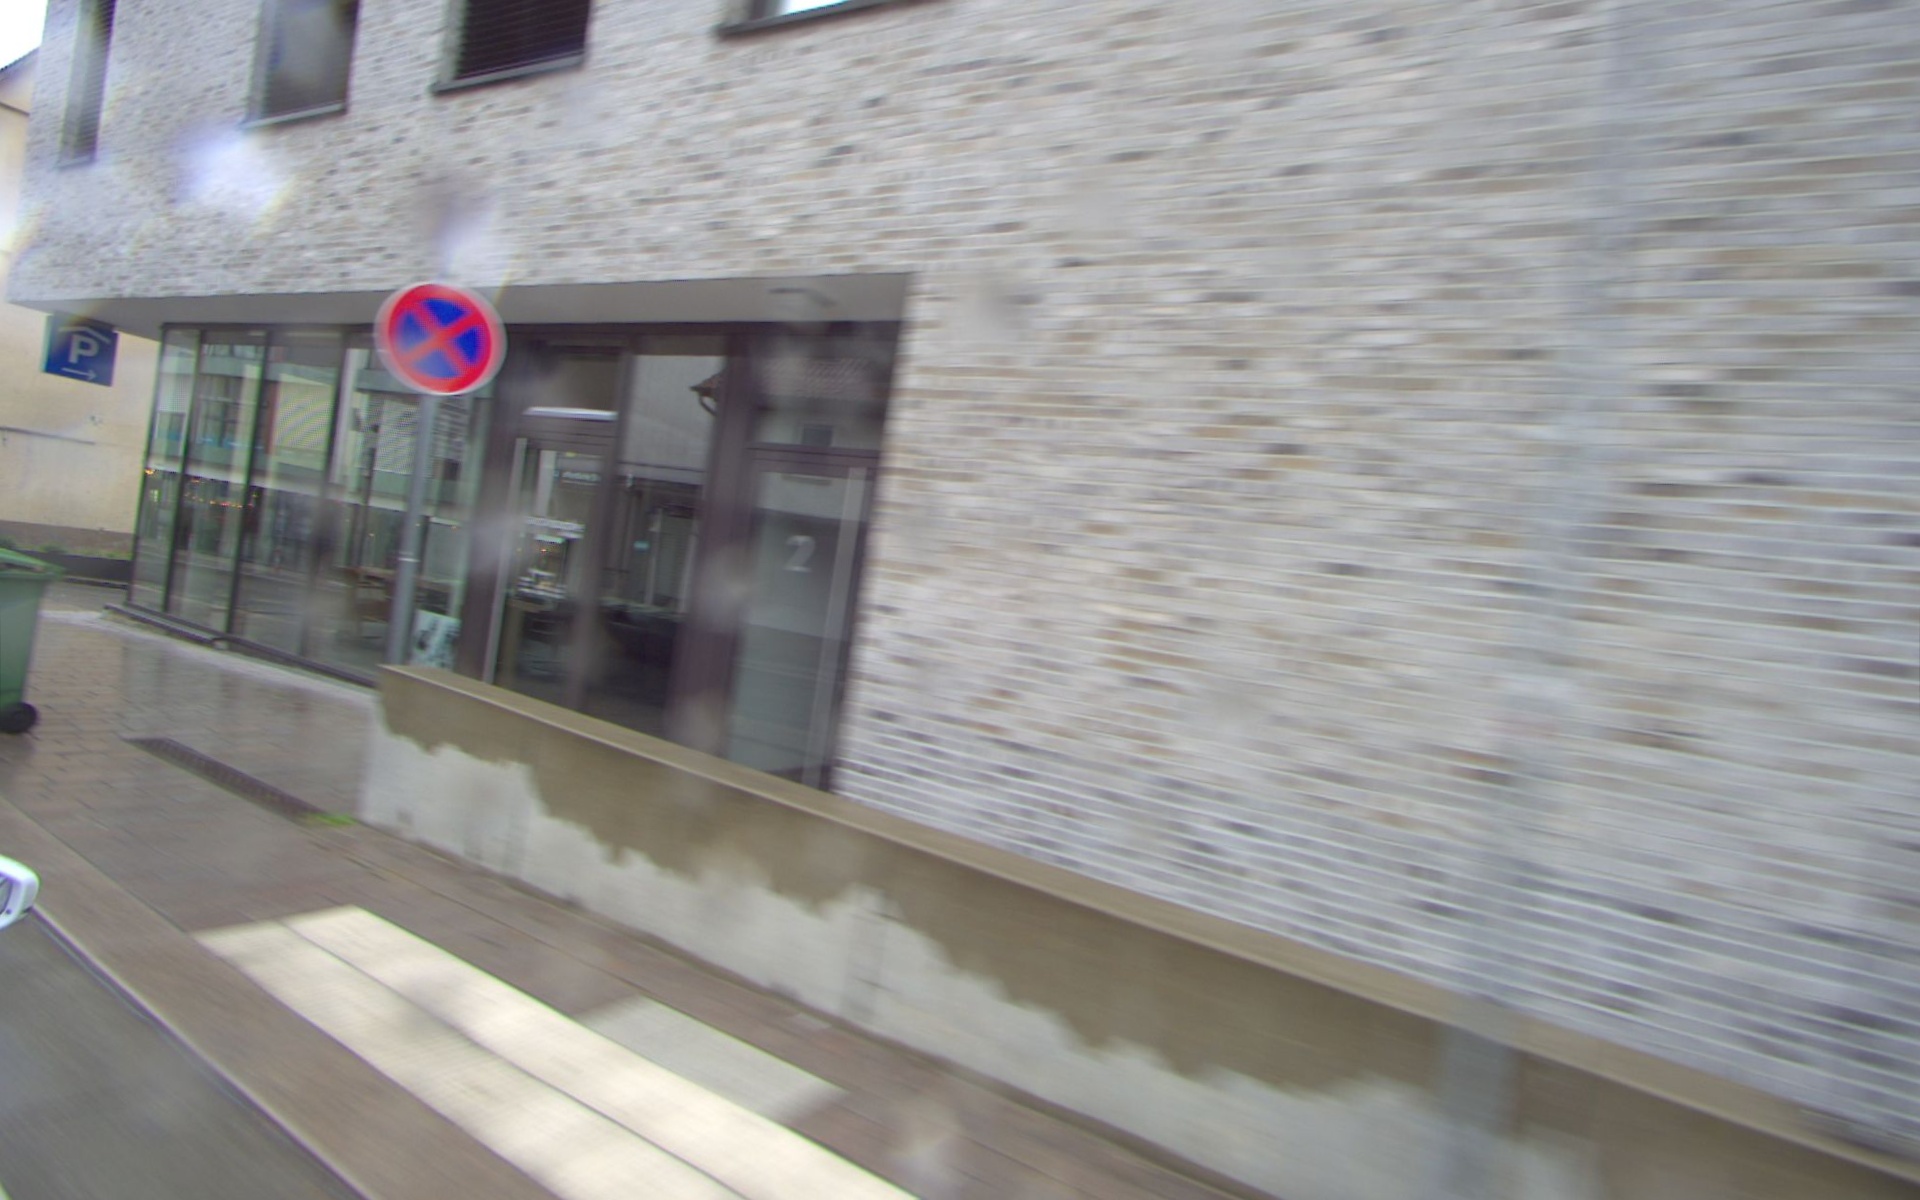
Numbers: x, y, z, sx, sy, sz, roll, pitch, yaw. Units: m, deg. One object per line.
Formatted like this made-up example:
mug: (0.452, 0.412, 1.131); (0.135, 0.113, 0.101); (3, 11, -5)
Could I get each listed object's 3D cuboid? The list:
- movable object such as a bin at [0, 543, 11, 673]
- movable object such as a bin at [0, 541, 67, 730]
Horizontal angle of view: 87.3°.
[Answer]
movable object such as a bin: (-6.623, 0.143, 6.343); (0.646, 1.109, 0.740); (8, 1, 33)
movable object such as a bin: (-5.983, 0.198, 6.094); (0.542, 1.109, 0.663); (8, 1, 32)
